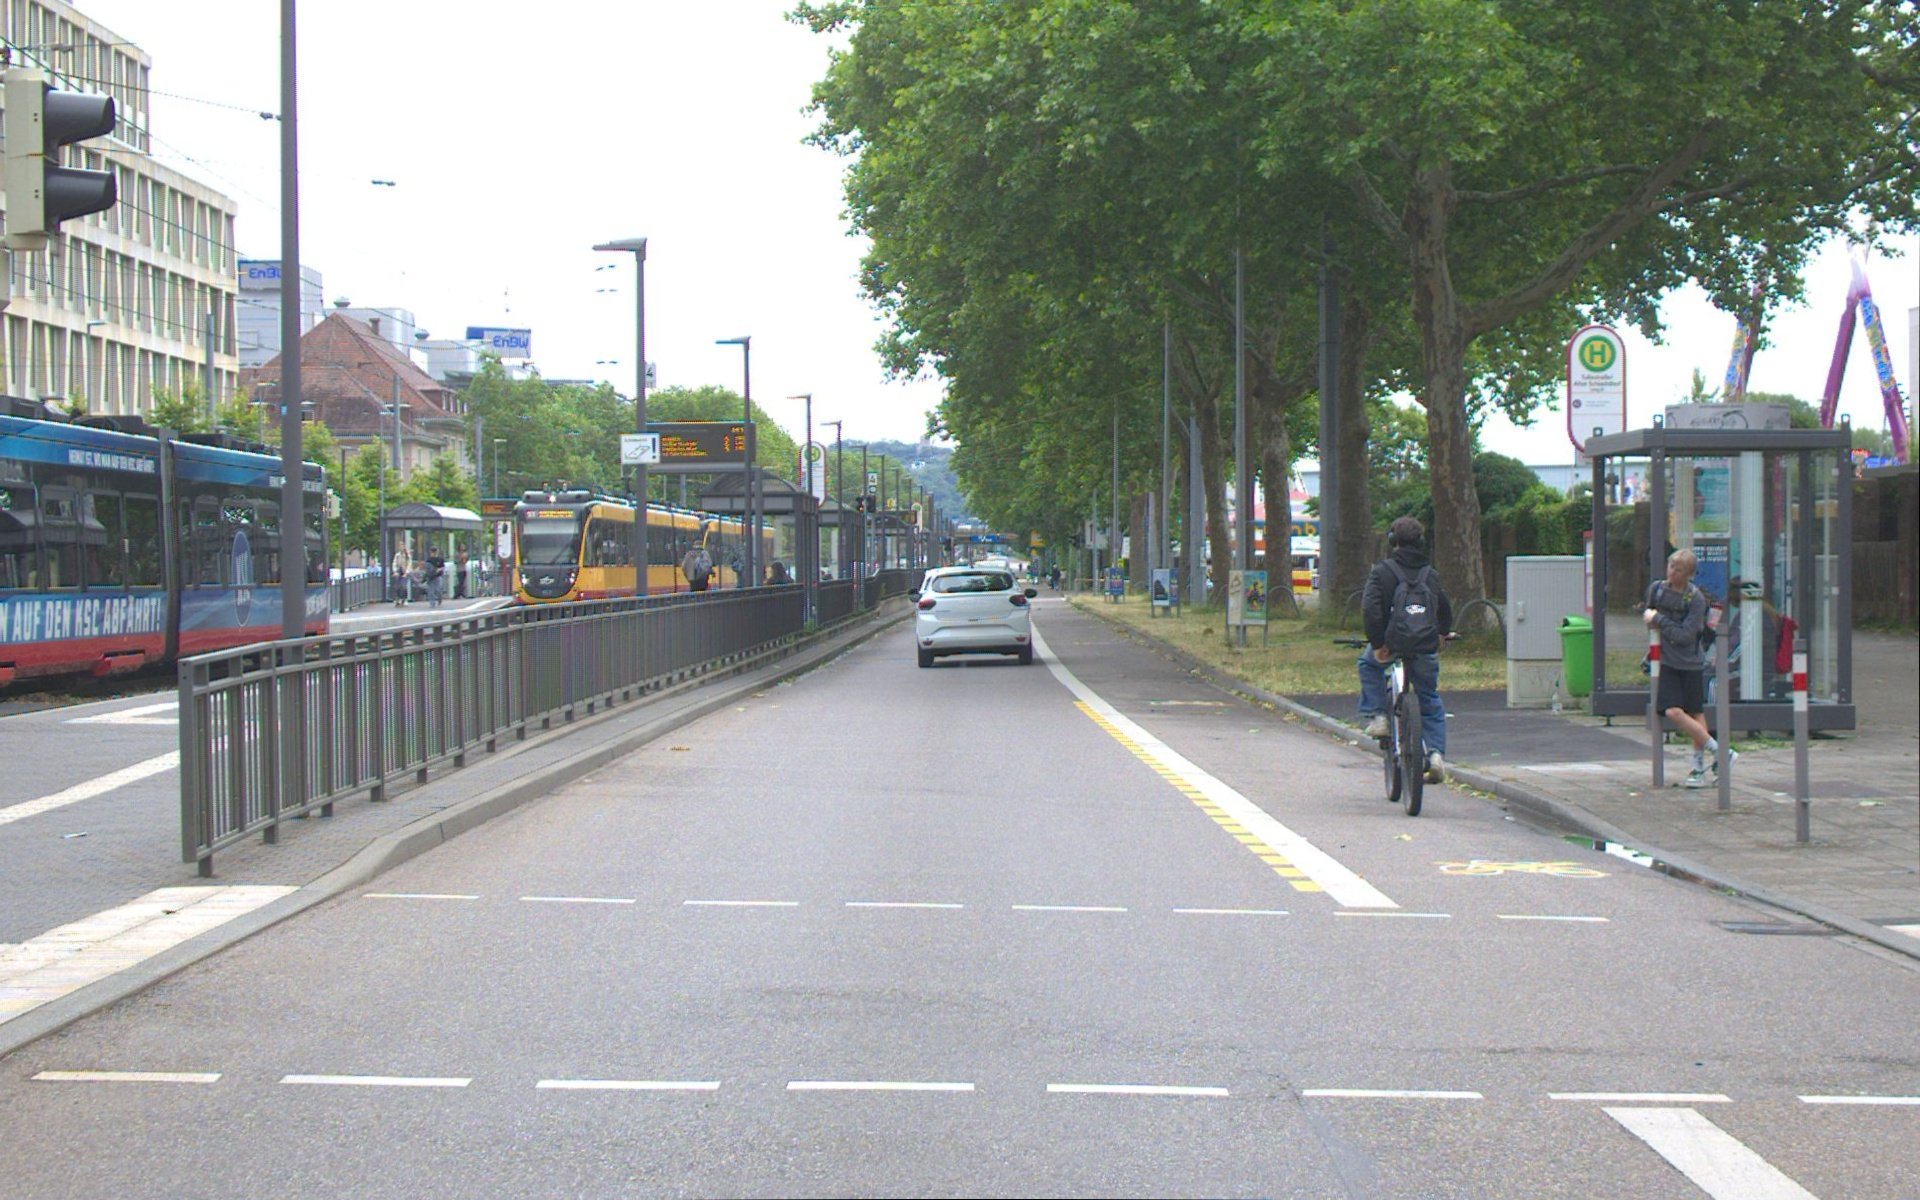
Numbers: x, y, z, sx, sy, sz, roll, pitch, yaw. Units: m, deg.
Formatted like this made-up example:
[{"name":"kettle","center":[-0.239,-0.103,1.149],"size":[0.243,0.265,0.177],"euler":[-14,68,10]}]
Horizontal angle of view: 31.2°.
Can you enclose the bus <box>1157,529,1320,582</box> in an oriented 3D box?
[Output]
[{"name":"bus","center":[16.255,-2.606,201.022],"size":[9.277,2.950,2.000],"euler":[-1,0,-1]}]

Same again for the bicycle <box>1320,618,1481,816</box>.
[{"name":"bicycle","center":[2.710,0.695,21.357],"size":[0.652,1.146,2.283],"euler":[-1,0,-1]}]

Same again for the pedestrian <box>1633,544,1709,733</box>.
[{"name":"pedestrian","center":[5.925,0.316,28.668],"size":[0.476,1.558,0.702],"euler":[-1,0,0]}]

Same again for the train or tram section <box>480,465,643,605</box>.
[{"name":"train or tram section","center":[-11.604,-1.801,101.275],"size":[3.237,3.849,11.311],"euler":[-1,0,1]}]

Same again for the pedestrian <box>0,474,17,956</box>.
[{"name":"pedestrian","center":[-3.759,0.395,11.680],"size":[0.858,1.637,0.653],"euler":[0,0,-41]}]

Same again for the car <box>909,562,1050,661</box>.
[{"name":"car","center":[0.335,0.169,53.011],"size":[1.885,1.448,3.999],"euler":[-1,0,4]}]

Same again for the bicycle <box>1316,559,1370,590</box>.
[{"name":"bicycle","center":[14.331,-0.968,128.613],"size":[1.921,1.087,0.550],"euler":[-2,0,-1]}]

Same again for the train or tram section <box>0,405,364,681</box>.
[{"name":"train or tram section","center":[-11.896,-0.760,52.905],"size":[2.855,3.679,13.520],"euler":[-1,0,1]}]

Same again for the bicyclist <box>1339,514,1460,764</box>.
[{"name":"bicyclist","center":[2.725,0.238,21.339],"size":[0.641,1.525,0.664],"euler":[-1,0,-1]}]

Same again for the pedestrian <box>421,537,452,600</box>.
[{"name":"pedestrian","center":[-15.034,-0.904,98.812],"size":[0.711,1.789,1.160],"euler":[-1,0,0]}]

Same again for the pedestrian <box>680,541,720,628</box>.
[{"name":"pedestrian","center":[-5.373,-0.318,70.991],"size":[0.670,1.787,1.113],"euler":[-1,0,-12]}]

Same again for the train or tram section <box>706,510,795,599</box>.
[{"name":"train or tram section","center":[-10.184,-2.145,168.650],"size":[3.180,4.165,14.733],"euler":[-1,0,1]}]

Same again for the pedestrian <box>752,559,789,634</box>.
[{"name":"pedestrian","center":[-3.401,-0.067,61.872],"size":[0.610,1.336,0.600],"euler":[-1,0,1]}]

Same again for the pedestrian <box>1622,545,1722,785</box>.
[{"name":"pedestrian","center":[4.607,0.415,22.223],"size":[0.552,1.523,0.638],"euler":[-1,0,18]}]

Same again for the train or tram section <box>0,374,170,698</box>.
[{"name":"train or tram section","center":[-12.151,-0.704,40.294],"size":[2.855,3.628,11.699],"euler":[-1,0,1]}]

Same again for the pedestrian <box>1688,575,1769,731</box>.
[{"name":"pedestrian","center":[6.128,0.418,27.422],"size":[0.476,1.230,0.702],"euler":[-1,0,0]}]

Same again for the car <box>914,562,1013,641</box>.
[{"name":"car","center":[0.100,0.014,68.907],"size":[1.841,1.547,4.000],"euler":[0,0,2]}]

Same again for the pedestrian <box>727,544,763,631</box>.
[{"name":"pedestrian","center":[-4.501,-0.259,71.979],"size":[0.670,1.787,1.113],"euler":[-1,0,-8]}]
